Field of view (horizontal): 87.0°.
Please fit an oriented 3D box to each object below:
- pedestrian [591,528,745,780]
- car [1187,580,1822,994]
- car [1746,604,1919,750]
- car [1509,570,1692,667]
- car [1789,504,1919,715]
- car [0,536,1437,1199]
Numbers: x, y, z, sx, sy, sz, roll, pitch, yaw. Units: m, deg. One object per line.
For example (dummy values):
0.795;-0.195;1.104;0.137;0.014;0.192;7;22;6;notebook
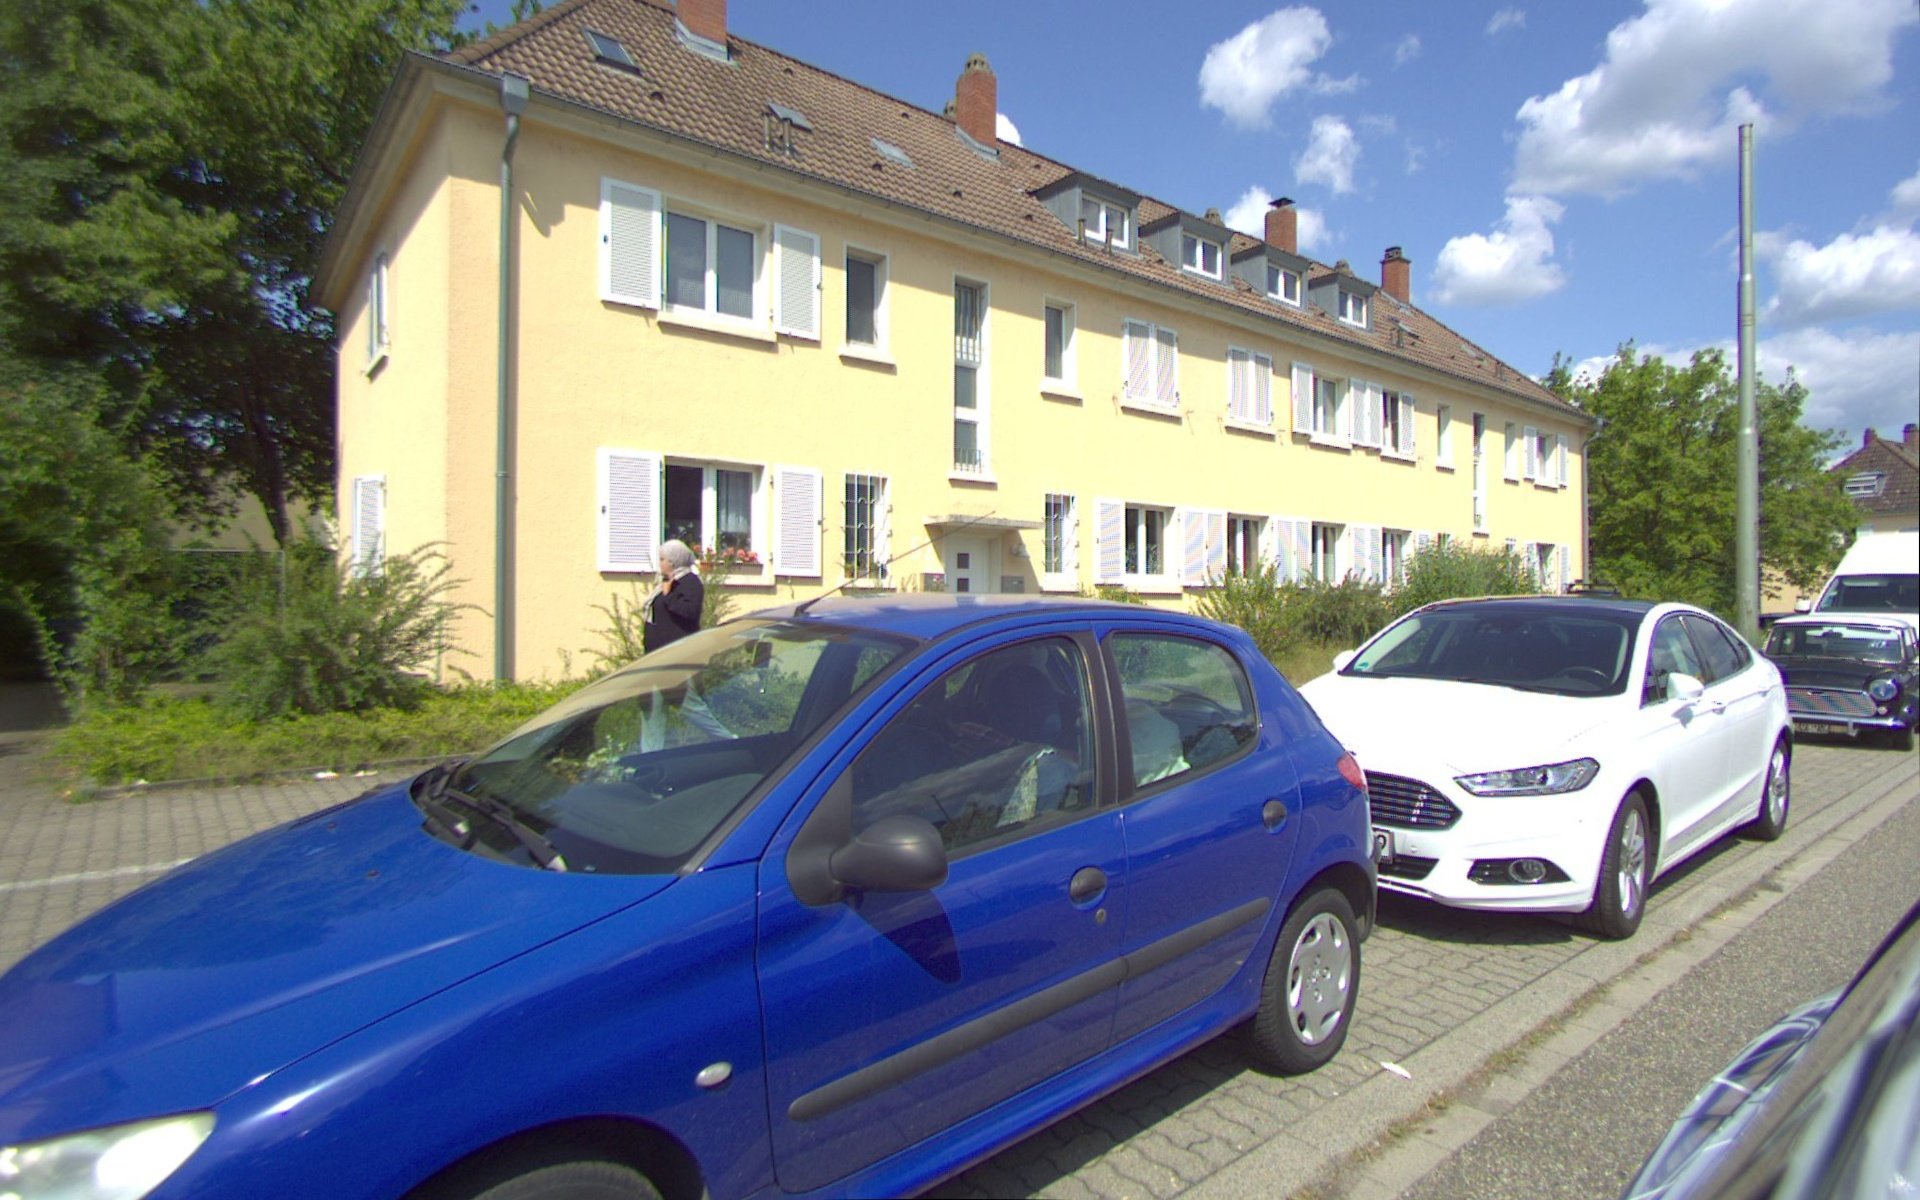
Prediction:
-2.074;0.348;7.195;0.885;1.659;0.616;0;1;-41;pedestrian
3.409;0.662;5.850;4.547;1.507;1.755;0;1;-41;car
9.975;0.738;11.218;3.481;1.323;1.357;-1;1;-41;car
12.928;0.338;20.353;3.973;1.769;1.927;0;0;-38;car
13.587;0.120;14.142;5.245;2.569;1.925;0;0;-37;car
-0.362;0.627;2.860;3.830;1.447;1.701;-1;1;-41;car
